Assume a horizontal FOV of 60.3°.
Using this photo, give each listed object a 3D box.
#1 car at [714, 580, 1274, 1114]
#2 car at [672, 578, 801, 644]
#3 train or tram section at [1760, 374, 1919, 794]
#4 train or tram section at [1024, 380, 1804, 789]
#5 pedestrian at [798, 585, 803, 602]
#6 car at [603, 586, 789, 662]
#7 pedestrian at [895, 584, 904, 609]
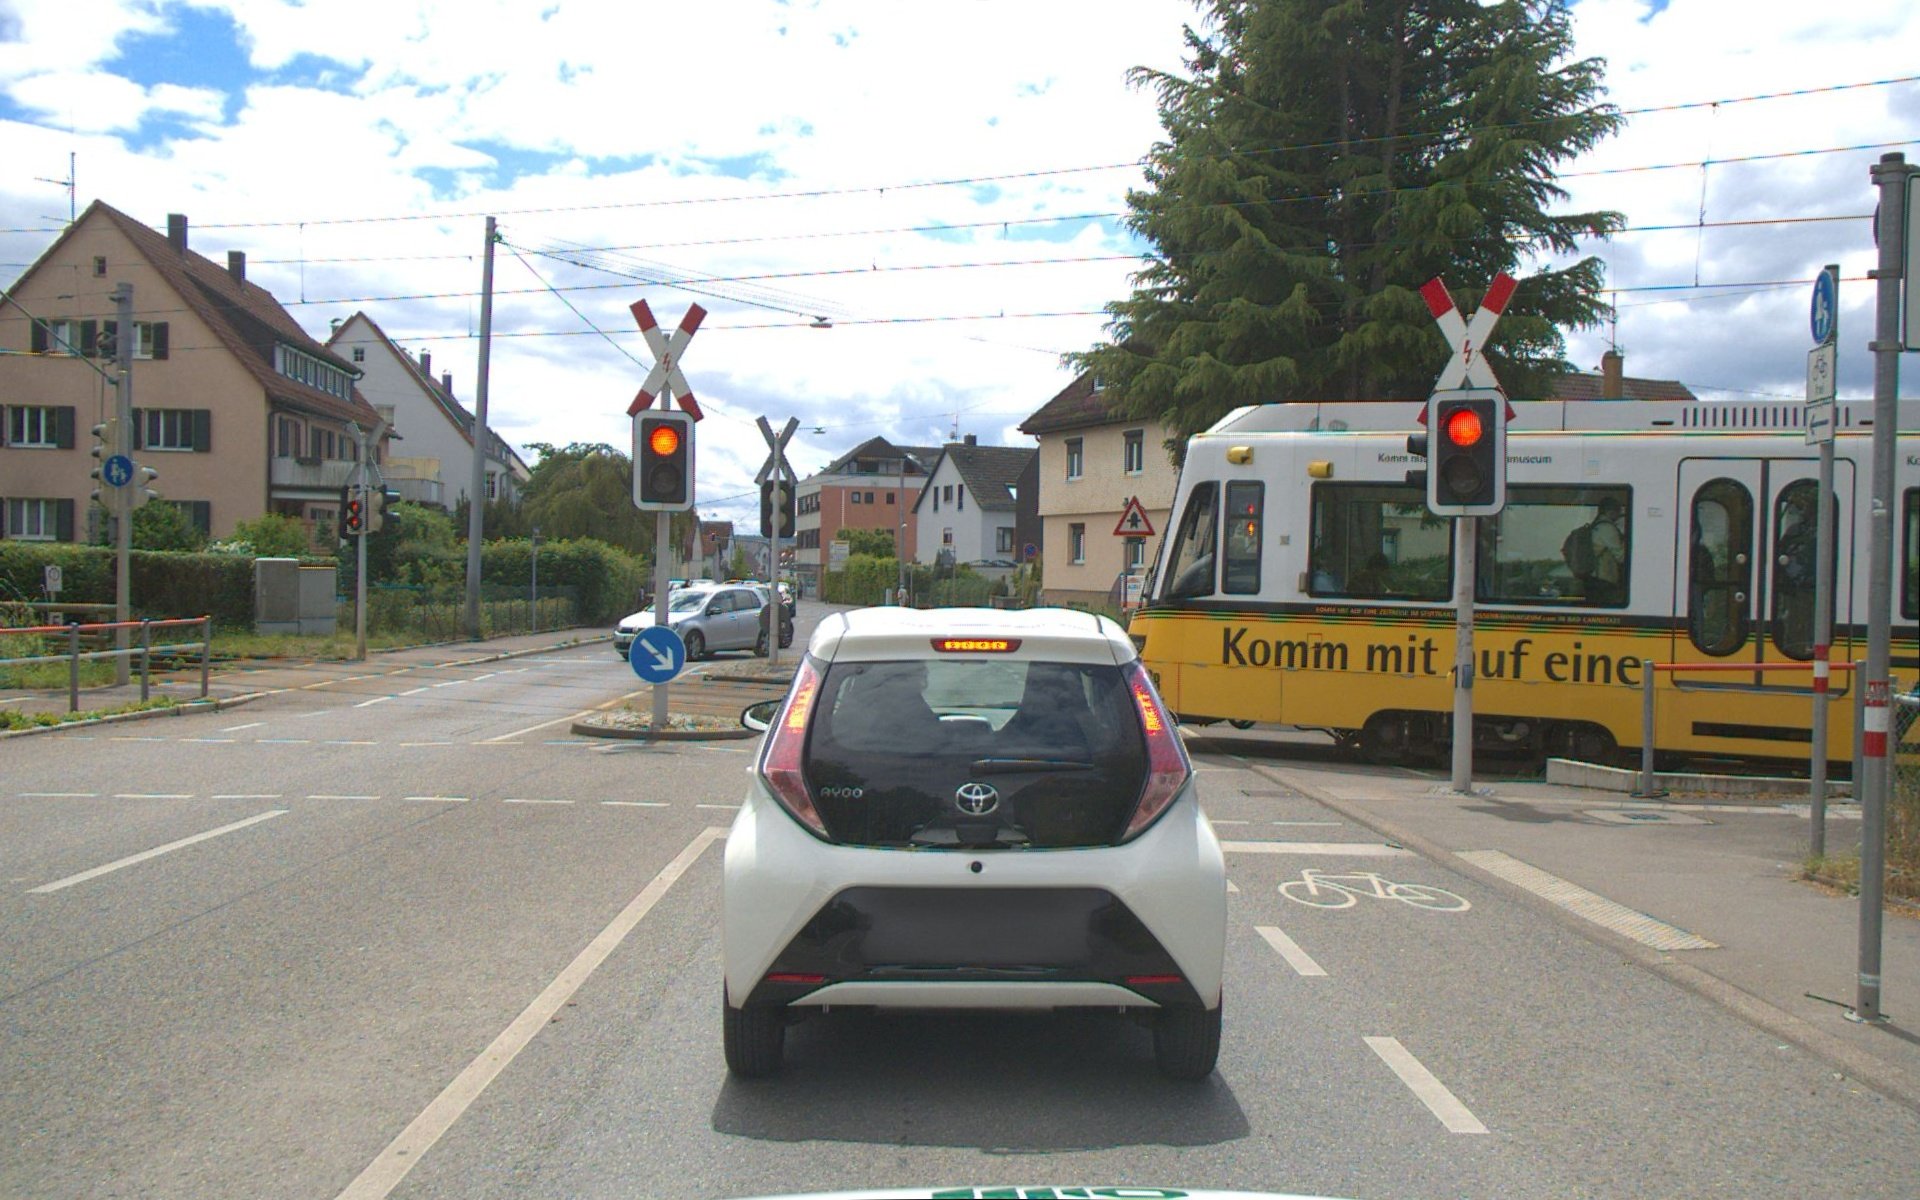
[{"bbox_3d":[0.073,0.717,6.724,1.588,1.512,3.999,1,0,-1],"label":"car"},{"bbox_3d":[-5.451,0.285,40.497,1.551,1.536,2.772,1,0,41],"label":"car"},{"bbox_3d":[11.723,-0.035,15.232,7.535,3.786,2.869,2,0,22],"label":"train or tram section"},{"bbox_3d":[4.783,-0.267,18.044,7.535,3.786,2.869,2,0,22],"label":"train or tram section"},{"bbox_3d":[-14.045,-0.605,145.802,0.406,1.463,0.436,1,0,-11],"label":"pedestrian"},{"bbox_3d":[-5.421,0.456,34.383,1.657,1.484,4.062,0,0,30],"label":"car"},{"bbox_3d":[-3.609,-0.192,98.607,0.404,1.463,0.438,2,0,18],"label":"pedestrian"}]
